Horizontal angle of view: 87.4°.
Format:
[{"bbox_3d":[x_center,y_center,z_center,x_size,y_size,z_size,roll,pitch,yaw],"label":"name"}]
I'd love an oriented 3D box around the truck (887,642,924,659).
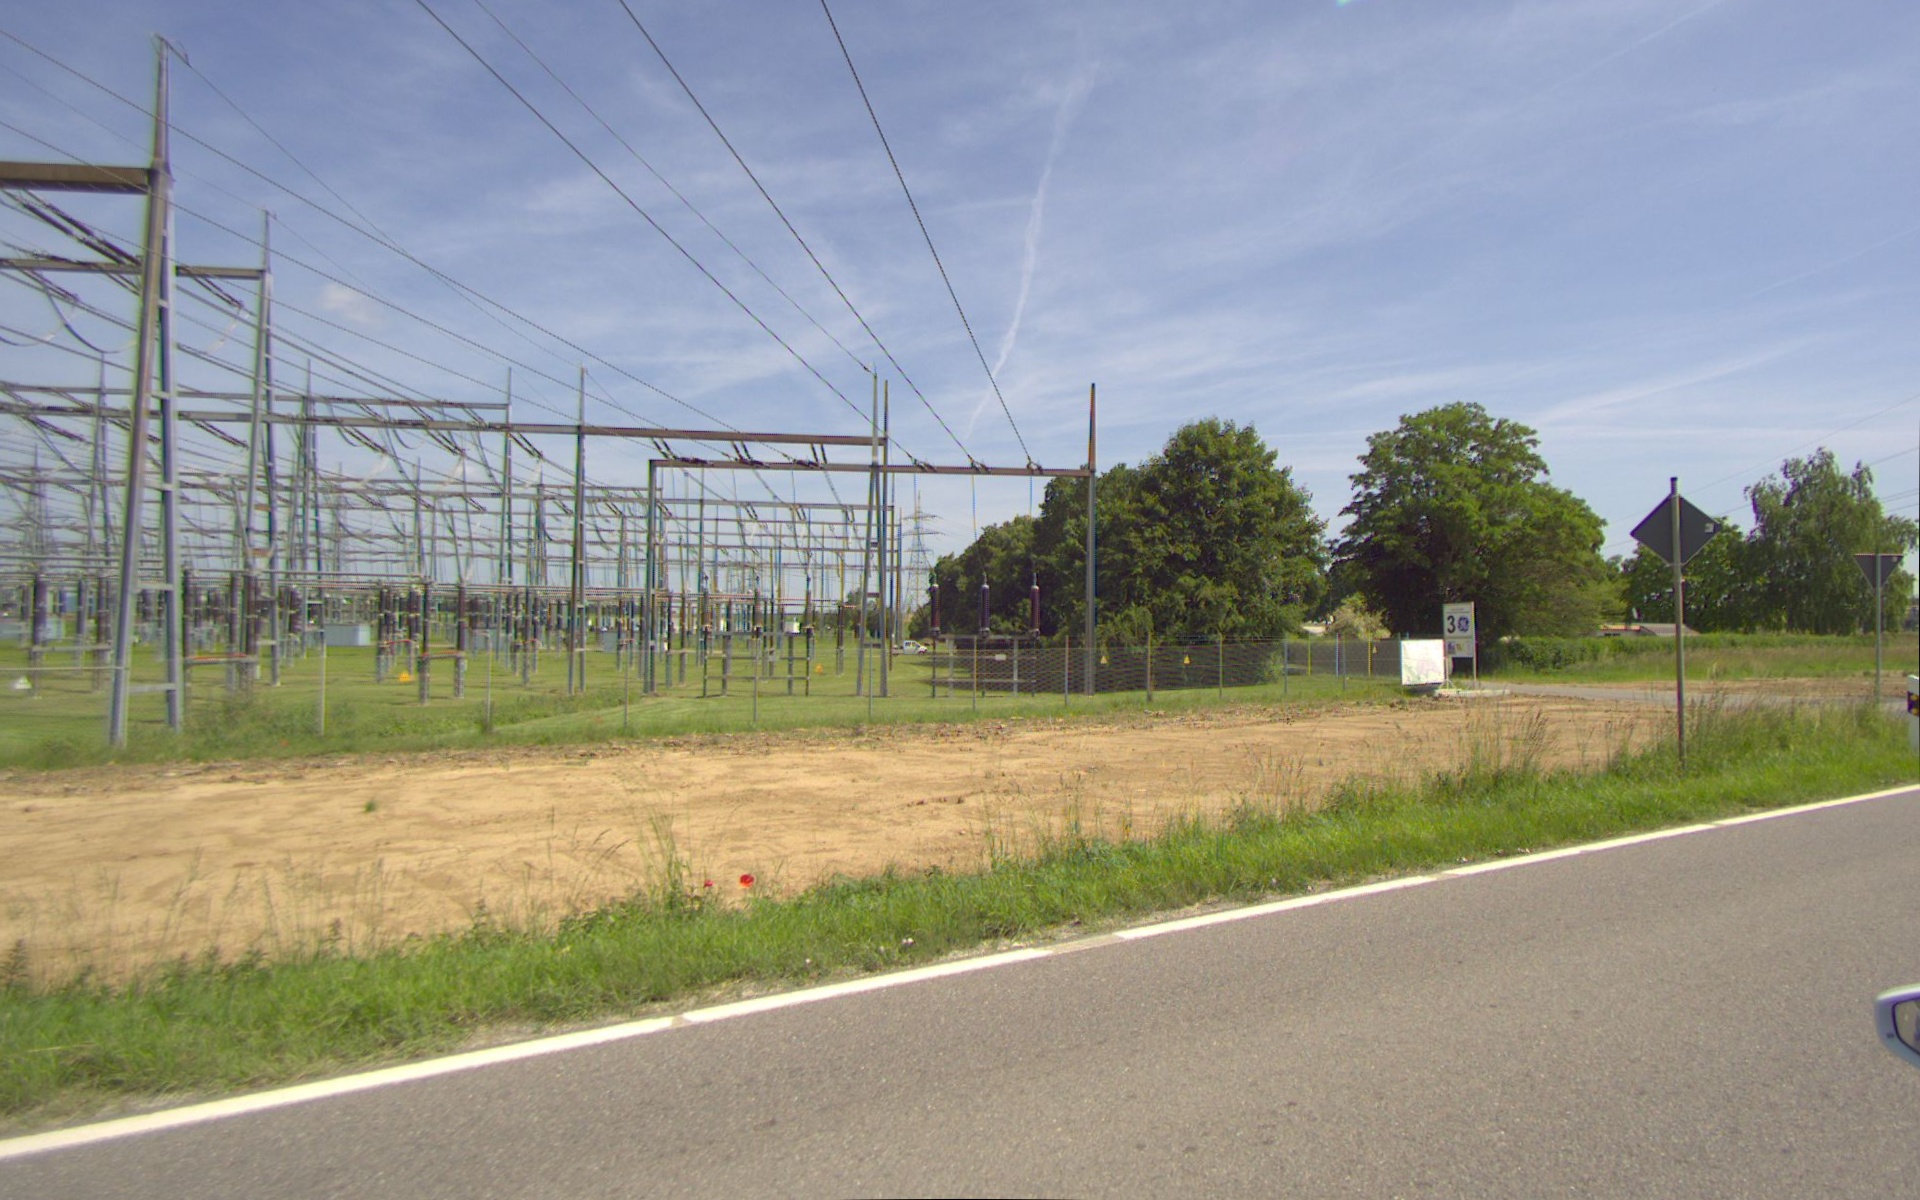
[{"bbox_3d":[-7.033,6.550,130.175,4.705,1.996,1.868,2,0,-5],"label":"truck"}]
